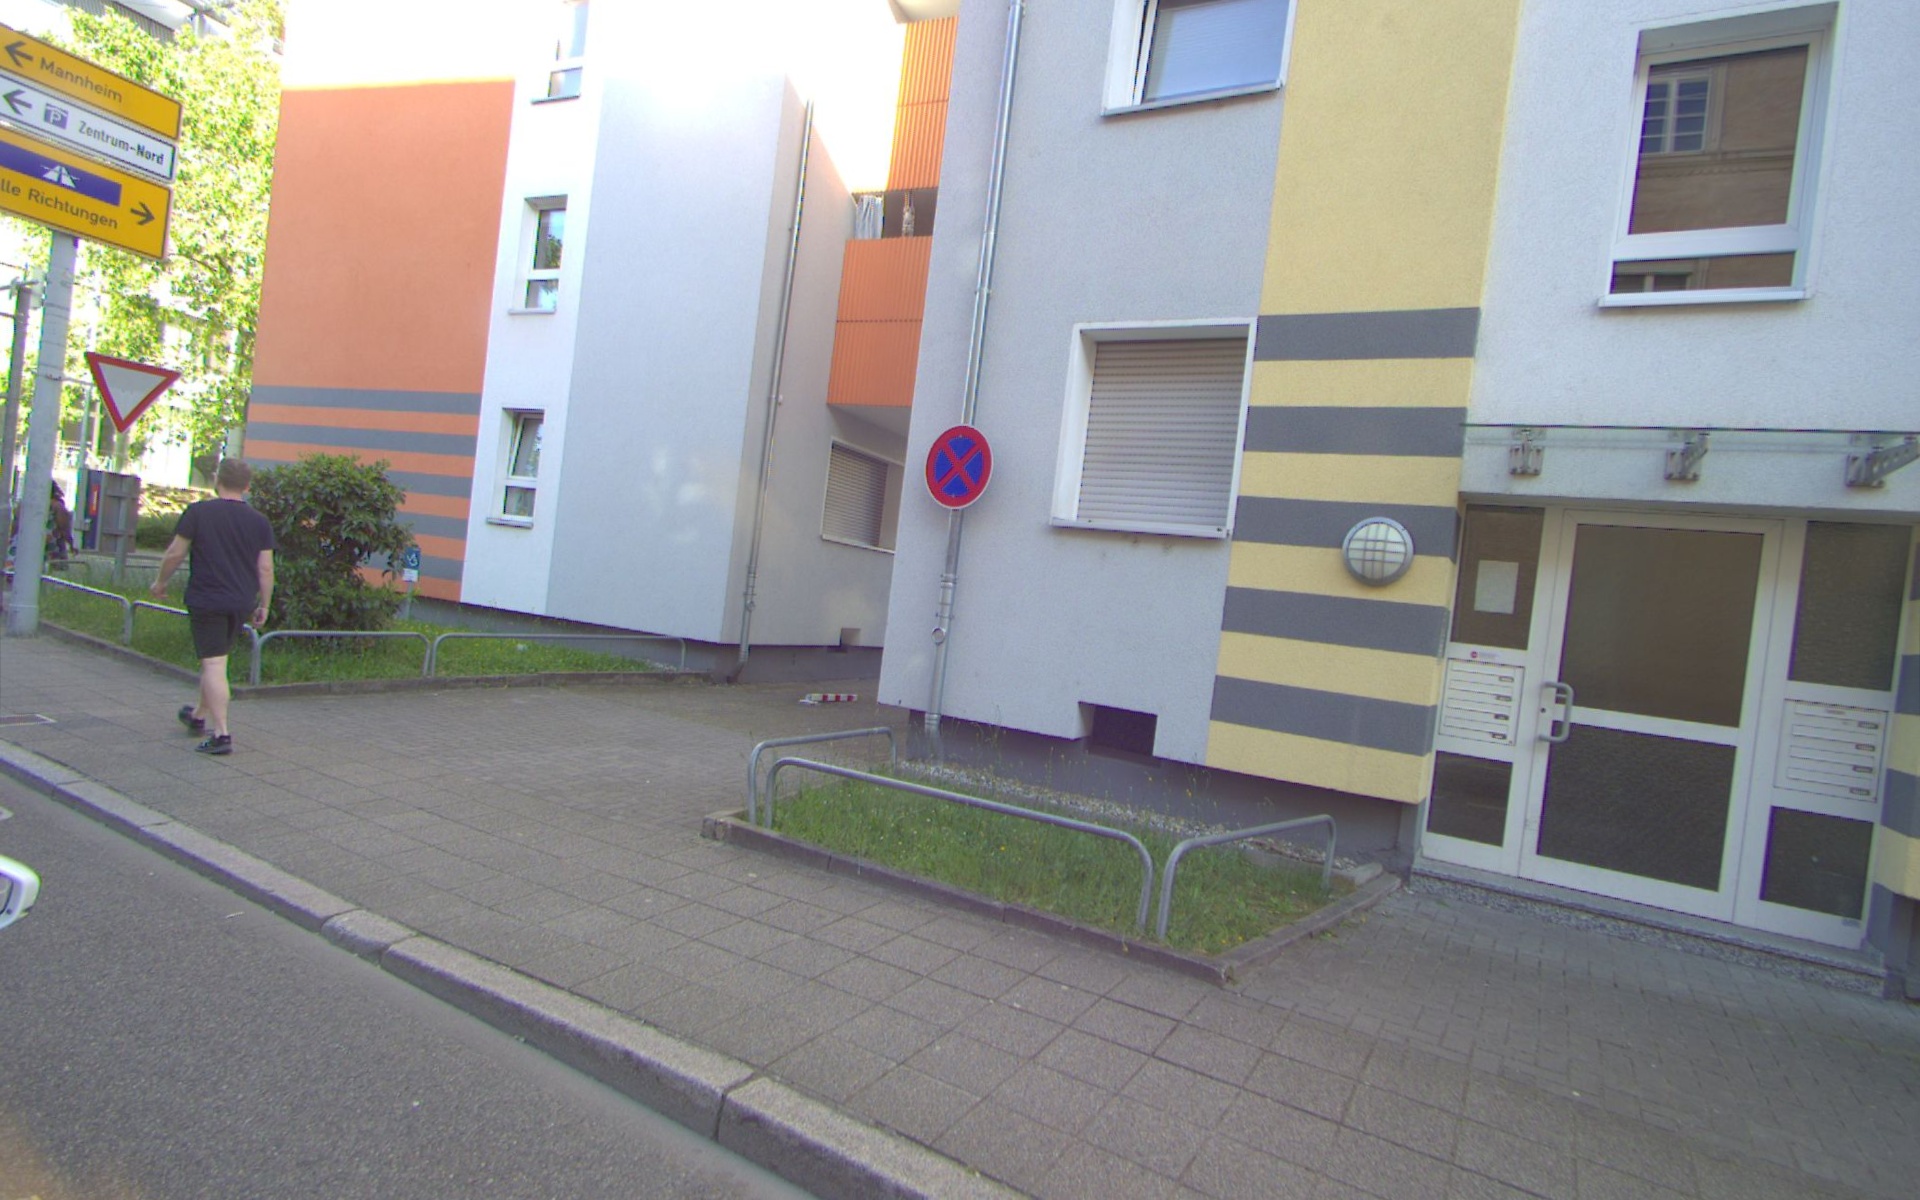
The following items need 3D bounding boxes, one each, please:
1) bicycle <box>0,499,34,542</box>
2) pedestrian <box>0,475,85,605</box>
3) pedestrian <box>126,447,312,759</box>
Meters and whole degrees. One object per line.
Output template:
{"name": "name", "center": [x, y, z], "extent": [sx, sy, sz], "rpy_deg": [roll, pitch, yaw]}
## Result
{"name": "bicycle", "center": [-26.411, -2.242, 27.279], "extent": [1.883, 1.062, 0.463], "rpy_deg": [7, 1, -10]}
{"name": "pedestrian", "center": [-12.071, -0.785, 13.025], "extent": [0.946, 1.595, 0.744], "rpy_deg": [3, 4, -30]}
{"name": "pedestrian", "center": [-4.699, -0.006, 6.374], "extent": [0.901, 1.813, 0.643], "rpy_deg": [7, 4, 35]}
